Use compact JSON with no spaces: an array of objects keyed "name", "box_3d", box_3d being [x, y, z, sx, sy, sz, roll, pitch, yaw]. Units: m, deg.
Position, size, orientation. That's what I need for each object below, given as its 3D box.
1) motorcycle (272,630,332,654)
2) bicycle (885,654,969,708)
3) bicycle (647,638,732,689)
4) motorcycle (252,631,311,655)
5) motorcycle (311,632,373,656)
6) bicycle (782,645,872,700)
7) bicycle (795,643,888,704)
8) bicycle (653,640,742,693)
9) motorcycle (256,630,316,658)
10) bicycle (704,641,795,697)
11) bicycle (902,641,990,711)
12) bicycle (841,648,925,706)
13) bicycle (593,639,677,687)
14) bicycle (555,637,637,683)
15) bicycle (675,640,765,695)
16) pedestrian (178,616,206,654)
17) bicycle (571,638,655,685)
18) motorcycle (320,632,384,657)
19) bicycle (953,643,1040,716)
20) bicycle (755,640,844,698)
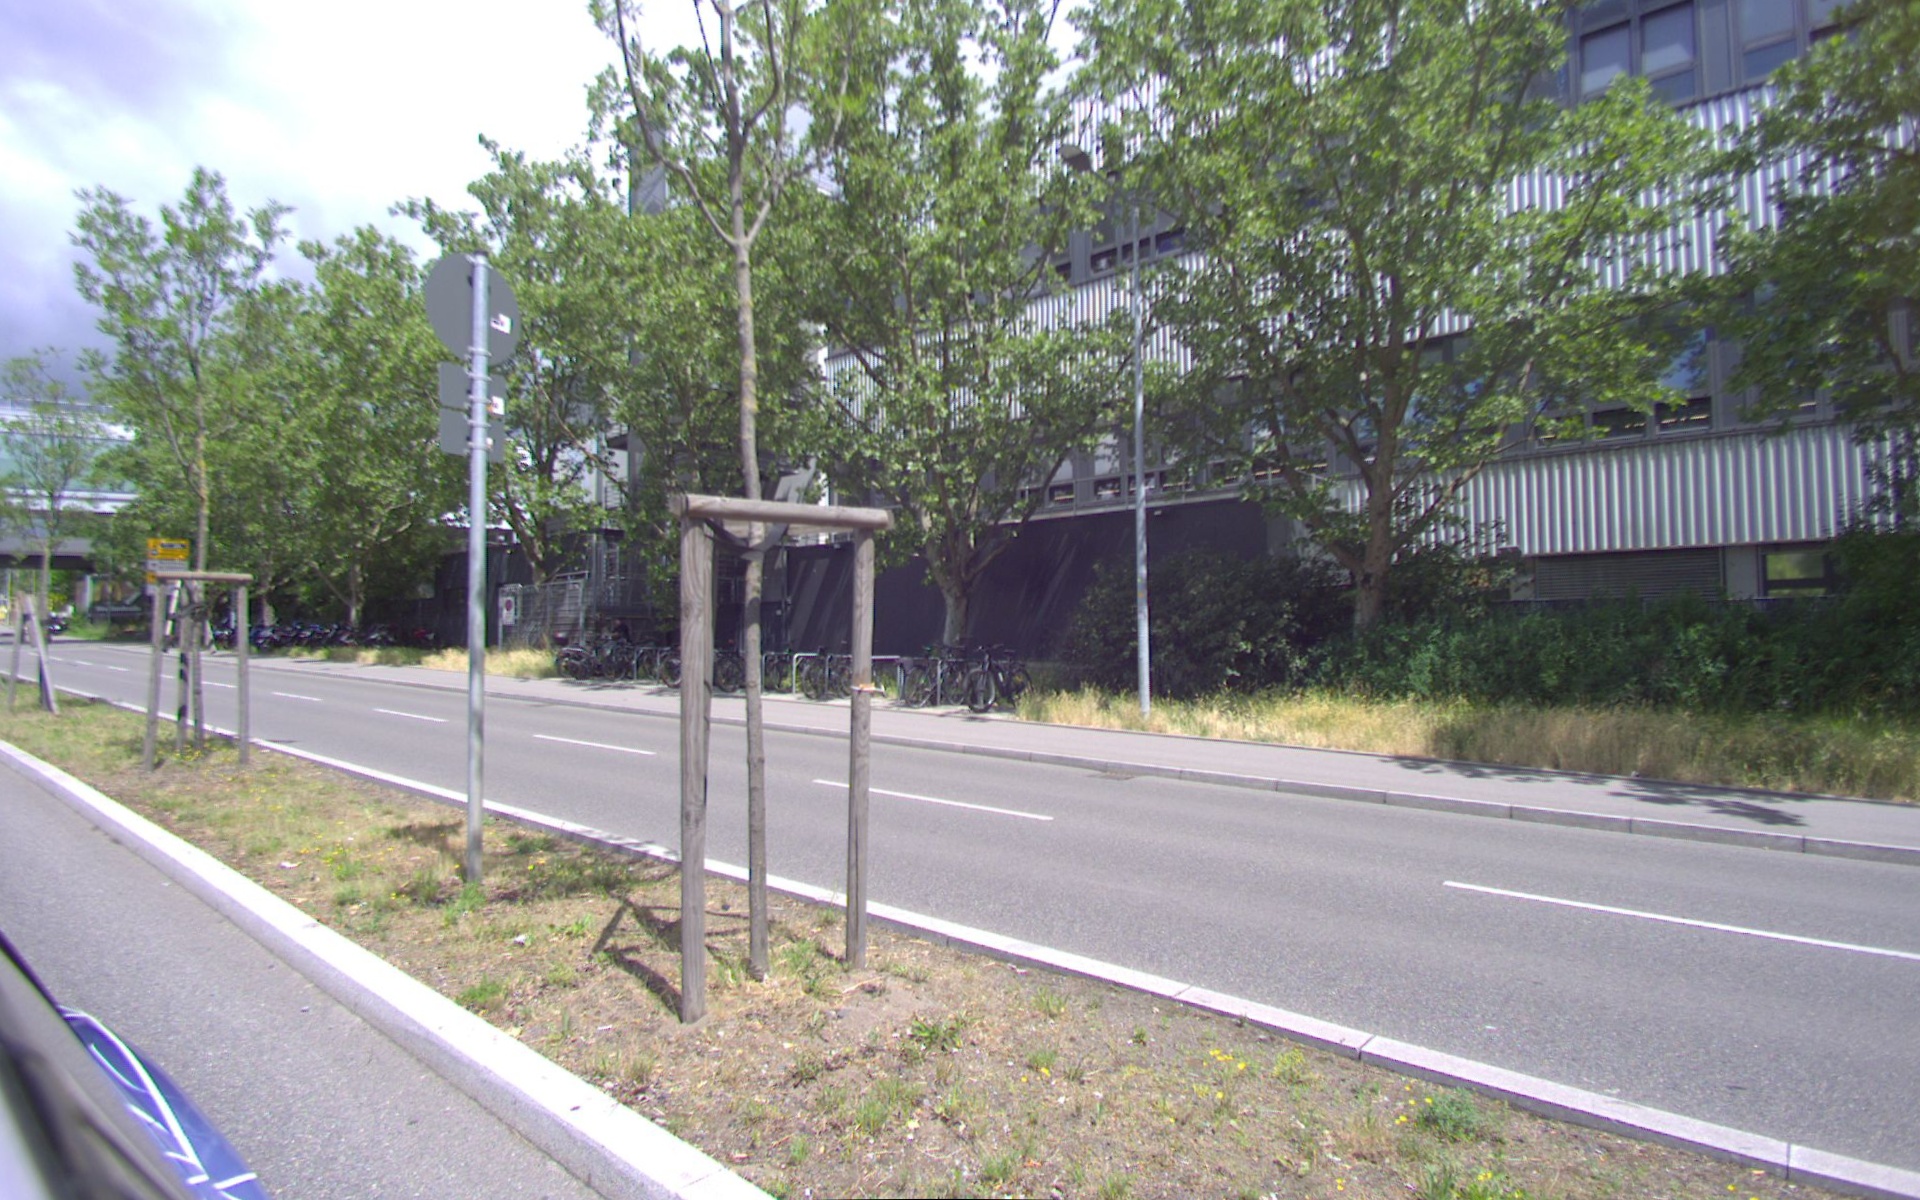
[{"name":"motorcycle","box_3d":[-28.124,1.778,43.297,0.534,0.976,2.105,-2,-1,41]},{"name":"bicycle","box_3d":[-0.604,1.522,19.216,0.381,0.897,1.968,-2,-1,39]},{"name":"bicycle","box_3d":[-6.489,1.512,24.407,0.382,1.119,2.101,-2,-1,43]},{"name":"motorcycle","box_3d":[-30.204,1.897,45.076,0.534,0.976,2.105,-2,-1,41]},{"name":"motorcycle","box_3d":[-25.185,1.785,41.302,0.534,0.892,2.105,-2,-1,41]},{"name":"bicycle","box_3d":[-2.751,1.480,21.131,0.382,1.038,2.101,-2,-1,43]},{"name":"bicycle","box_3d":[-2.347,1.436,20.223,0.382,1.104,2.101,-2,-1,43]},{"name":"bicycle","box_3d":[-5.998,1.501,23.257,0.382,1.119,2.101,-2,-1,43]},{"name":"motorcycle","box_3d":[-29.284,1.907,43.971,0.534,1.146,2.105,-2,-1,41]},{"name":"bicycle","box_3d":[-4.550,1.480,22.011,0.382,1.119,2.101,-2,-1,43]},{"name":"bicycle","box_3d":[-0.226,1.336,18.115,0.381,1.137,1.968,-2,-1,39]},{"name":"bicycle","box_3d":[-1.476,1.477,19.701,0.381,1.005,1.968,-2,-1,39]},{"name":"bicycle","box_3d":[-8.169,1.568,25.531,0.382,1.119,2.101,-2,-1,43]},{"name":"bicycle","box_3d":[-9.554,1.553,26.624,0.382,1.119,2.101,-2,-1,43]},{"name":"bicycle","box_3d":[-5.341,1.490,22.661,0.382,1.119,2.101,-2,-1,43]},{"name":"pedestrian","box_3d":[-35.364,1.599,46.623,0.672,1.734,0.888,-2,-2,41]},{"name":"bicycle","box_3d":[-8.913,1.572,26.079,0.382,1.119,2.101,-2,-1,43]},{"name":"motorcycle","box_3d":[-23.927,1.732,39.868,0.534,0.905,2.105,-2,-1,41]},{"name":"bicycle","box_3d":[0.653,1.340,17.392,0.381,1.137,1.968,-2,-1,39]},{"name":"bicycle","box_3d":[-3.419,1.457,21.745,0.382,1.119,2.101,-2,-1,43]}]
